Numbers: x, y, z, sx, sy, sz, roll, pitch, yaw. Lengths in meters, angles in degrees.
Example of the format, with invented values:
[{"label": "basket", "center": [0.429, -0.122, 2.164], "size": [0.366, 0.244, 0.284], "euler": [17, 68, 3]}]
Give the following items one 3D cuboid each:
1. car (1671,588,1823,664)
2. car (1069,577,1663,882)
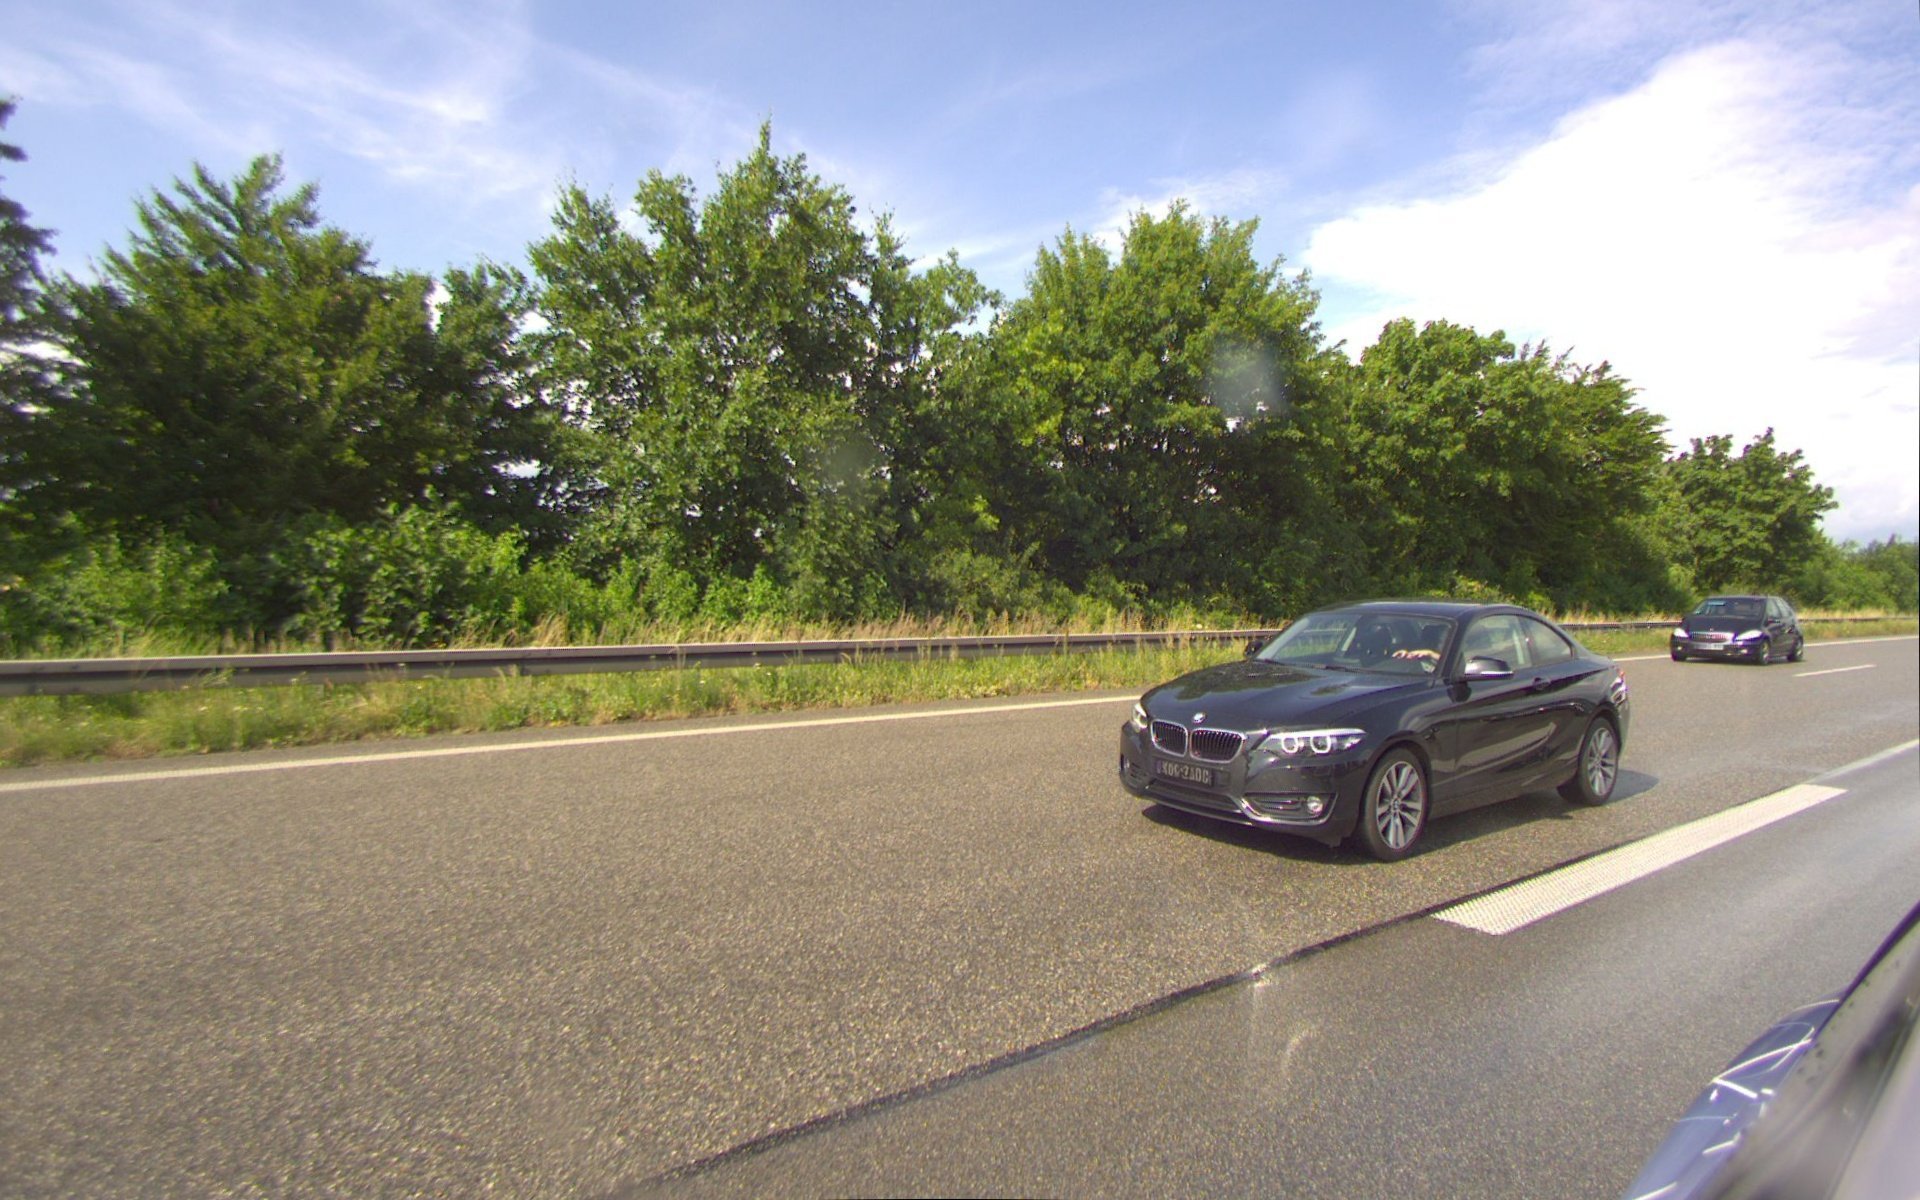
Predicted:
[{"label": "car", "center": [18.349, 0.529, 23.556], "size": [3.926, 1.588, 1.854], "euler": [0, 2, -37]}, {"label": "car", "center": [2.935, 0.610, 6.977], "size": [4.175, 1.482, 1.854], "euler": [0, 2, -36]}]
